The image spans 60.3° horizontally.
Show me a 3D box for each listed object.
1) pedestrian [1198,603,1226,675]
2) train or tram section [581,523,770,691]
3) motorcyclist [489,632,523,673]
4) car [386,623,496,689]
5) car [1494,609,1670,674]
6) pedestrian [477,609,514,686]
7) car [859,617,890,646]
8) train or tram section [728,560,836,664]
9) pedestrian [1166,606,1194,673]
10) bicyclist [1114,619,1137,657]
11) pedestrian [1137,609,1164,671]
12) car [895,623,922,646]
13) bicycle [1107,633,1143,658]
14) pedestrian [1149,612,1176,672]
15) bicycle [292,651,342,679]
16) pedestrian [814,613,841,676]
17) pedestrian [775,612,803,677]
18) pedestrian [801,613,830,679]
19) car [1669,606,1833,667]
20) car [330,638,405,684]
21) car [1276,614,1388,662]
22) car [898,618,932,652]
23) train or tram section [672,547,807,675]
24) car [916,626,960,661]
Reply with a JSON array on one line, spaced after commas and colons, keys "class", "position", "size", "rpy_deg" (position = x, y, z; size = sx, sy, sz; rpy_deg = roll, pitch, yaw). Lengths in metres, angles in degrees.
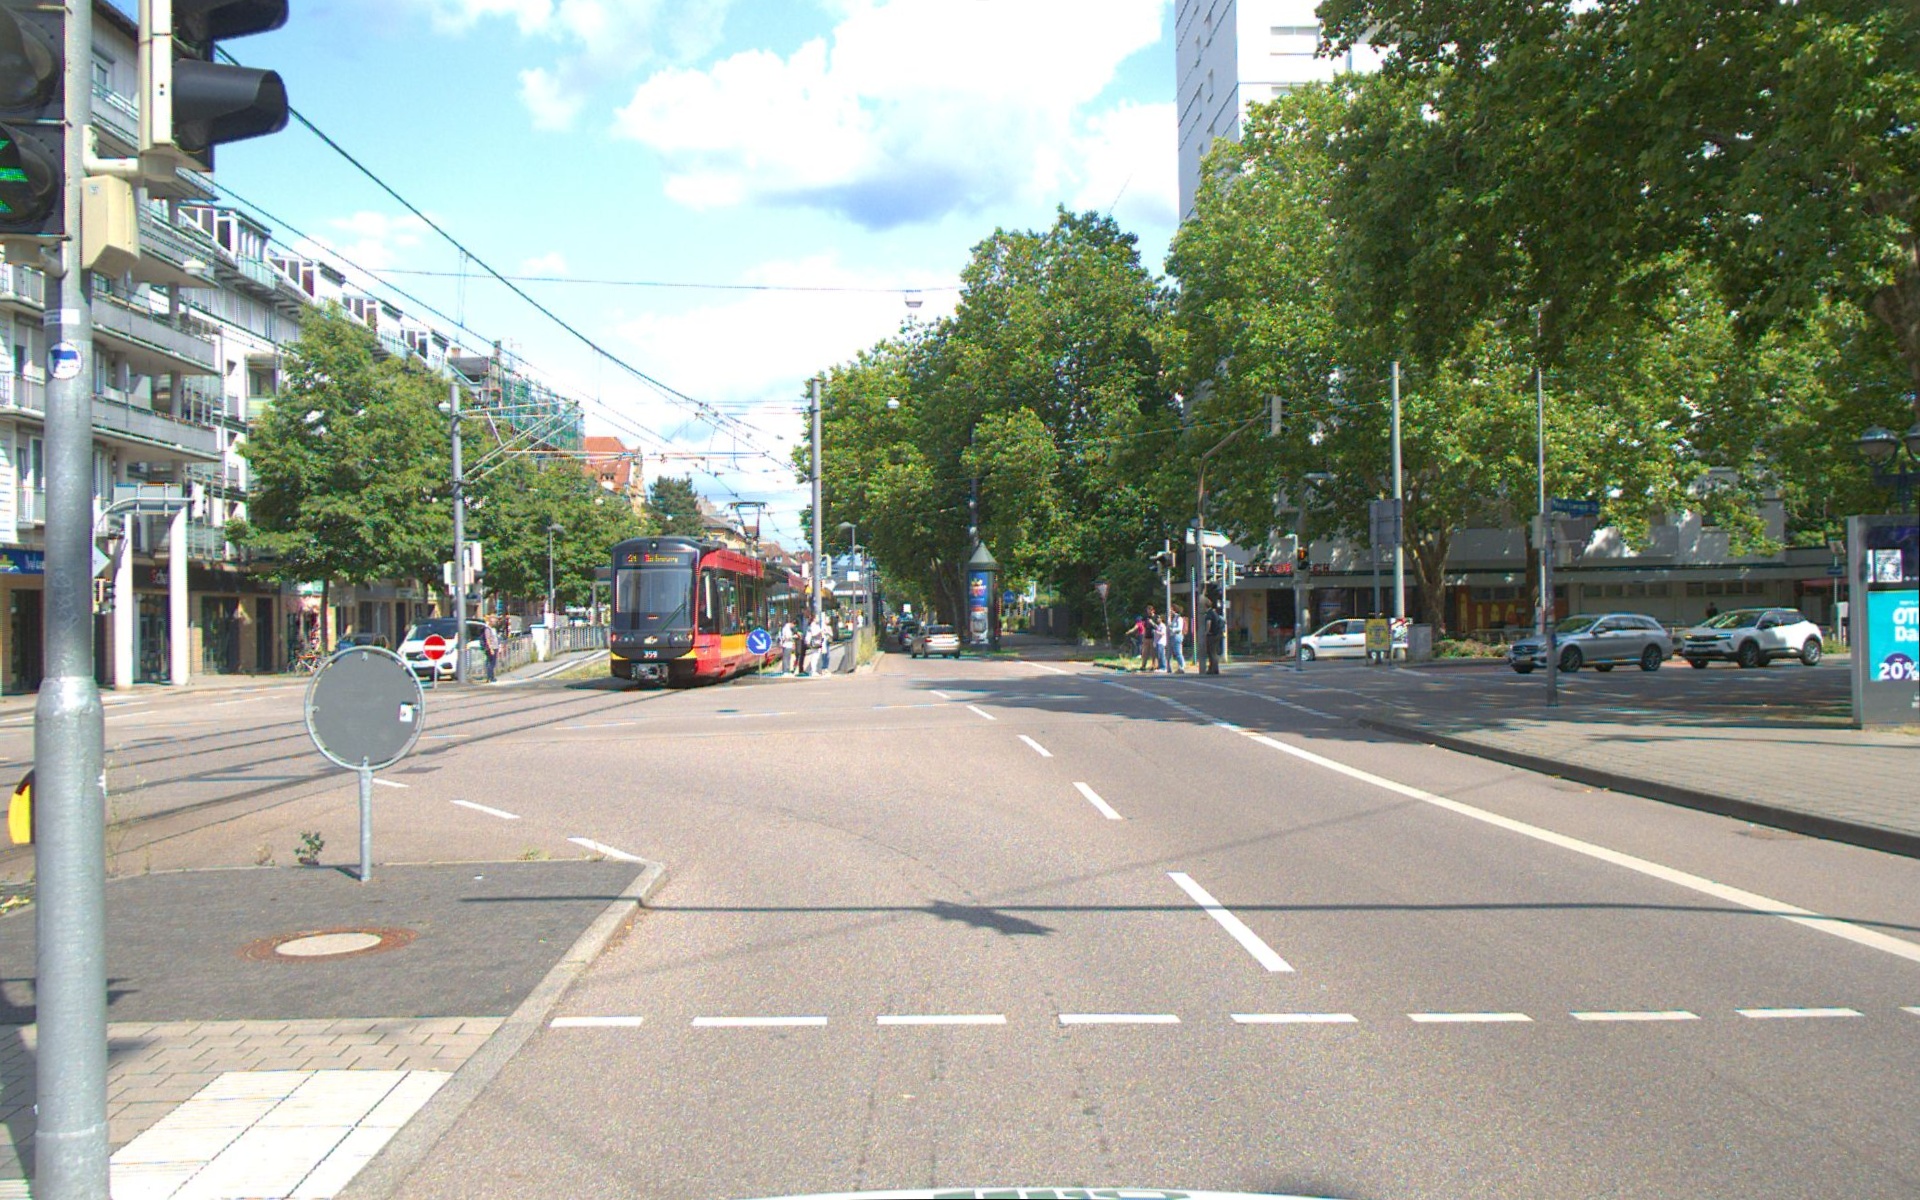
[{"class": "pedestrian", "position": [6.516, 1.007, 42.779], "size": [0.473, 1.857, 0.553], "rpy_deg": [-2, -1, 40]}, {"class": "train or tram section", "position": [-6.948, 0.211, 42.285], "size": [2.738, 3.623, 11.376], "rpy_deg": [-2, -1, 0]}, {"class": "motorcyclist", "position": [-16.087, 1.850, 58.640], "size": [0.875, 1.428, 1.087], "rpy_deg": [-1, -1, -2]}, {"class": "car", "position": [-16.302, 1.720, 52.209], "size": [1.953, 1.924, 5.169], "rpy_deg": [-1, -1, -2]}, {"class": "car", "position": [15.829, 1.033, 42.147], "size": [3.927, 1.516, 1.851], "rpy_deg": [-1, -1, -19]}, {"class": "pedestrian", "position": [-12.599, 1.274, 44.860], "size": [0.723, 2.049, 0.704], "rpy_deg": [-1, -1, 3]}, {"class": "car", "position": [-5.592, 2.081, 108.882], "size": [1.778, 1.836, 4.000], "rpy_deg": [-1, -1, 0]}, {"class": "train or tram section", "position": [-6.820, 0.484, 65.224], "size": [2.748, 3.623, 12.156], "rpy_deg": [-2, -1, 1]}, {"class": "pedestrian", "position": [5.896, 1.050, 44.349], "size": [0.520, 1.766, 0.552], "rpy_deg": [-1, -1, -23]}, {"class": "bicyclist", "position": [6.208, 1.438, 62.185], "size": [0.605, 1.409, 0.876], "rpy_deg": [-1, -1, -11]}, {"class": "pedestrian", "position": [5.322, 1.120, 46.220], "size": [0.503, 1.700, 0.552], "rpy_deg": [-1, -1, -23]}, {"class": "car", "position": [-3.141, 2.085, 100.400], "size": [1.456, 1.338, 3.995], "rpy_deg": [-1, -1, -5]}, {"class": "bicycle", "position": [6.199, 1.710, 62.293], "size": [0.605, 0.895, 2.530], "rpy_deg": [-1, -1, -11]}, {"class": "pedestrian", "position": [5.584, 1.149, 45.673], "size": [0.503, 1.625, 0.552], "rpy_deg": [-1, -1, -23]}, {"class": "bicycle", "position": [-24.036, 2.424, 61.842], "size": [1.656, 1.003, 0.497], "rpy_deg": [-1, -1, -5]}, {"class": "pedestrian", "position": [-3.705, 1.234, 46.320], "size": [0.655, 1.733, 0.648], "rpy_deg": [-1, -1, 0]}, {"class": "pedestrian", "position": [-4.581, 1.186, 44.307], "size": [0.655, 1.733, 0.648], "rpy_deg": [-1, -1, 0]}, {"class": "pedestrian", "position": [-3.864, 1.228, 44.256], "size": [0.655, 1.733, 0.648], "rpy_deg": [-1, -1, 0]}, {"class": "car", "position": [21.515, 0.975, 44.980], "size": [4.009, 1.516, 1.847], "rpy_deg": [-1, -1, -24]}, {"class": "car", "position": [-24.778, 2.517, 69.296], "size": [1.810, 1.821, 3.997], "rpy_deg": [1, -1, -3]}, {"class": "car", "position": [12.731, 1.290, 56.556], "size": [3.583, 1.510, 1.737], "rpy_deg": [-2, -1, 16]}, {"class": "car", "position": [-2.782, 2.112, 100.916], "size": [1.954, 2.049, 3.997], "rpy_deg": [0, -1, -3]}, {"class": "train or tram section", "position": [-6.912, 0.377, 53.577], "size": [2.748, 3.623, 11.181], "rpy_deg": [-2, -1, 0]}, {"class": "car", "position": [-1.004, 1.898, 73.272], "size": [1.714, 1.478, 3.602], "rpy_deg": [-1, -1, -4]}]
